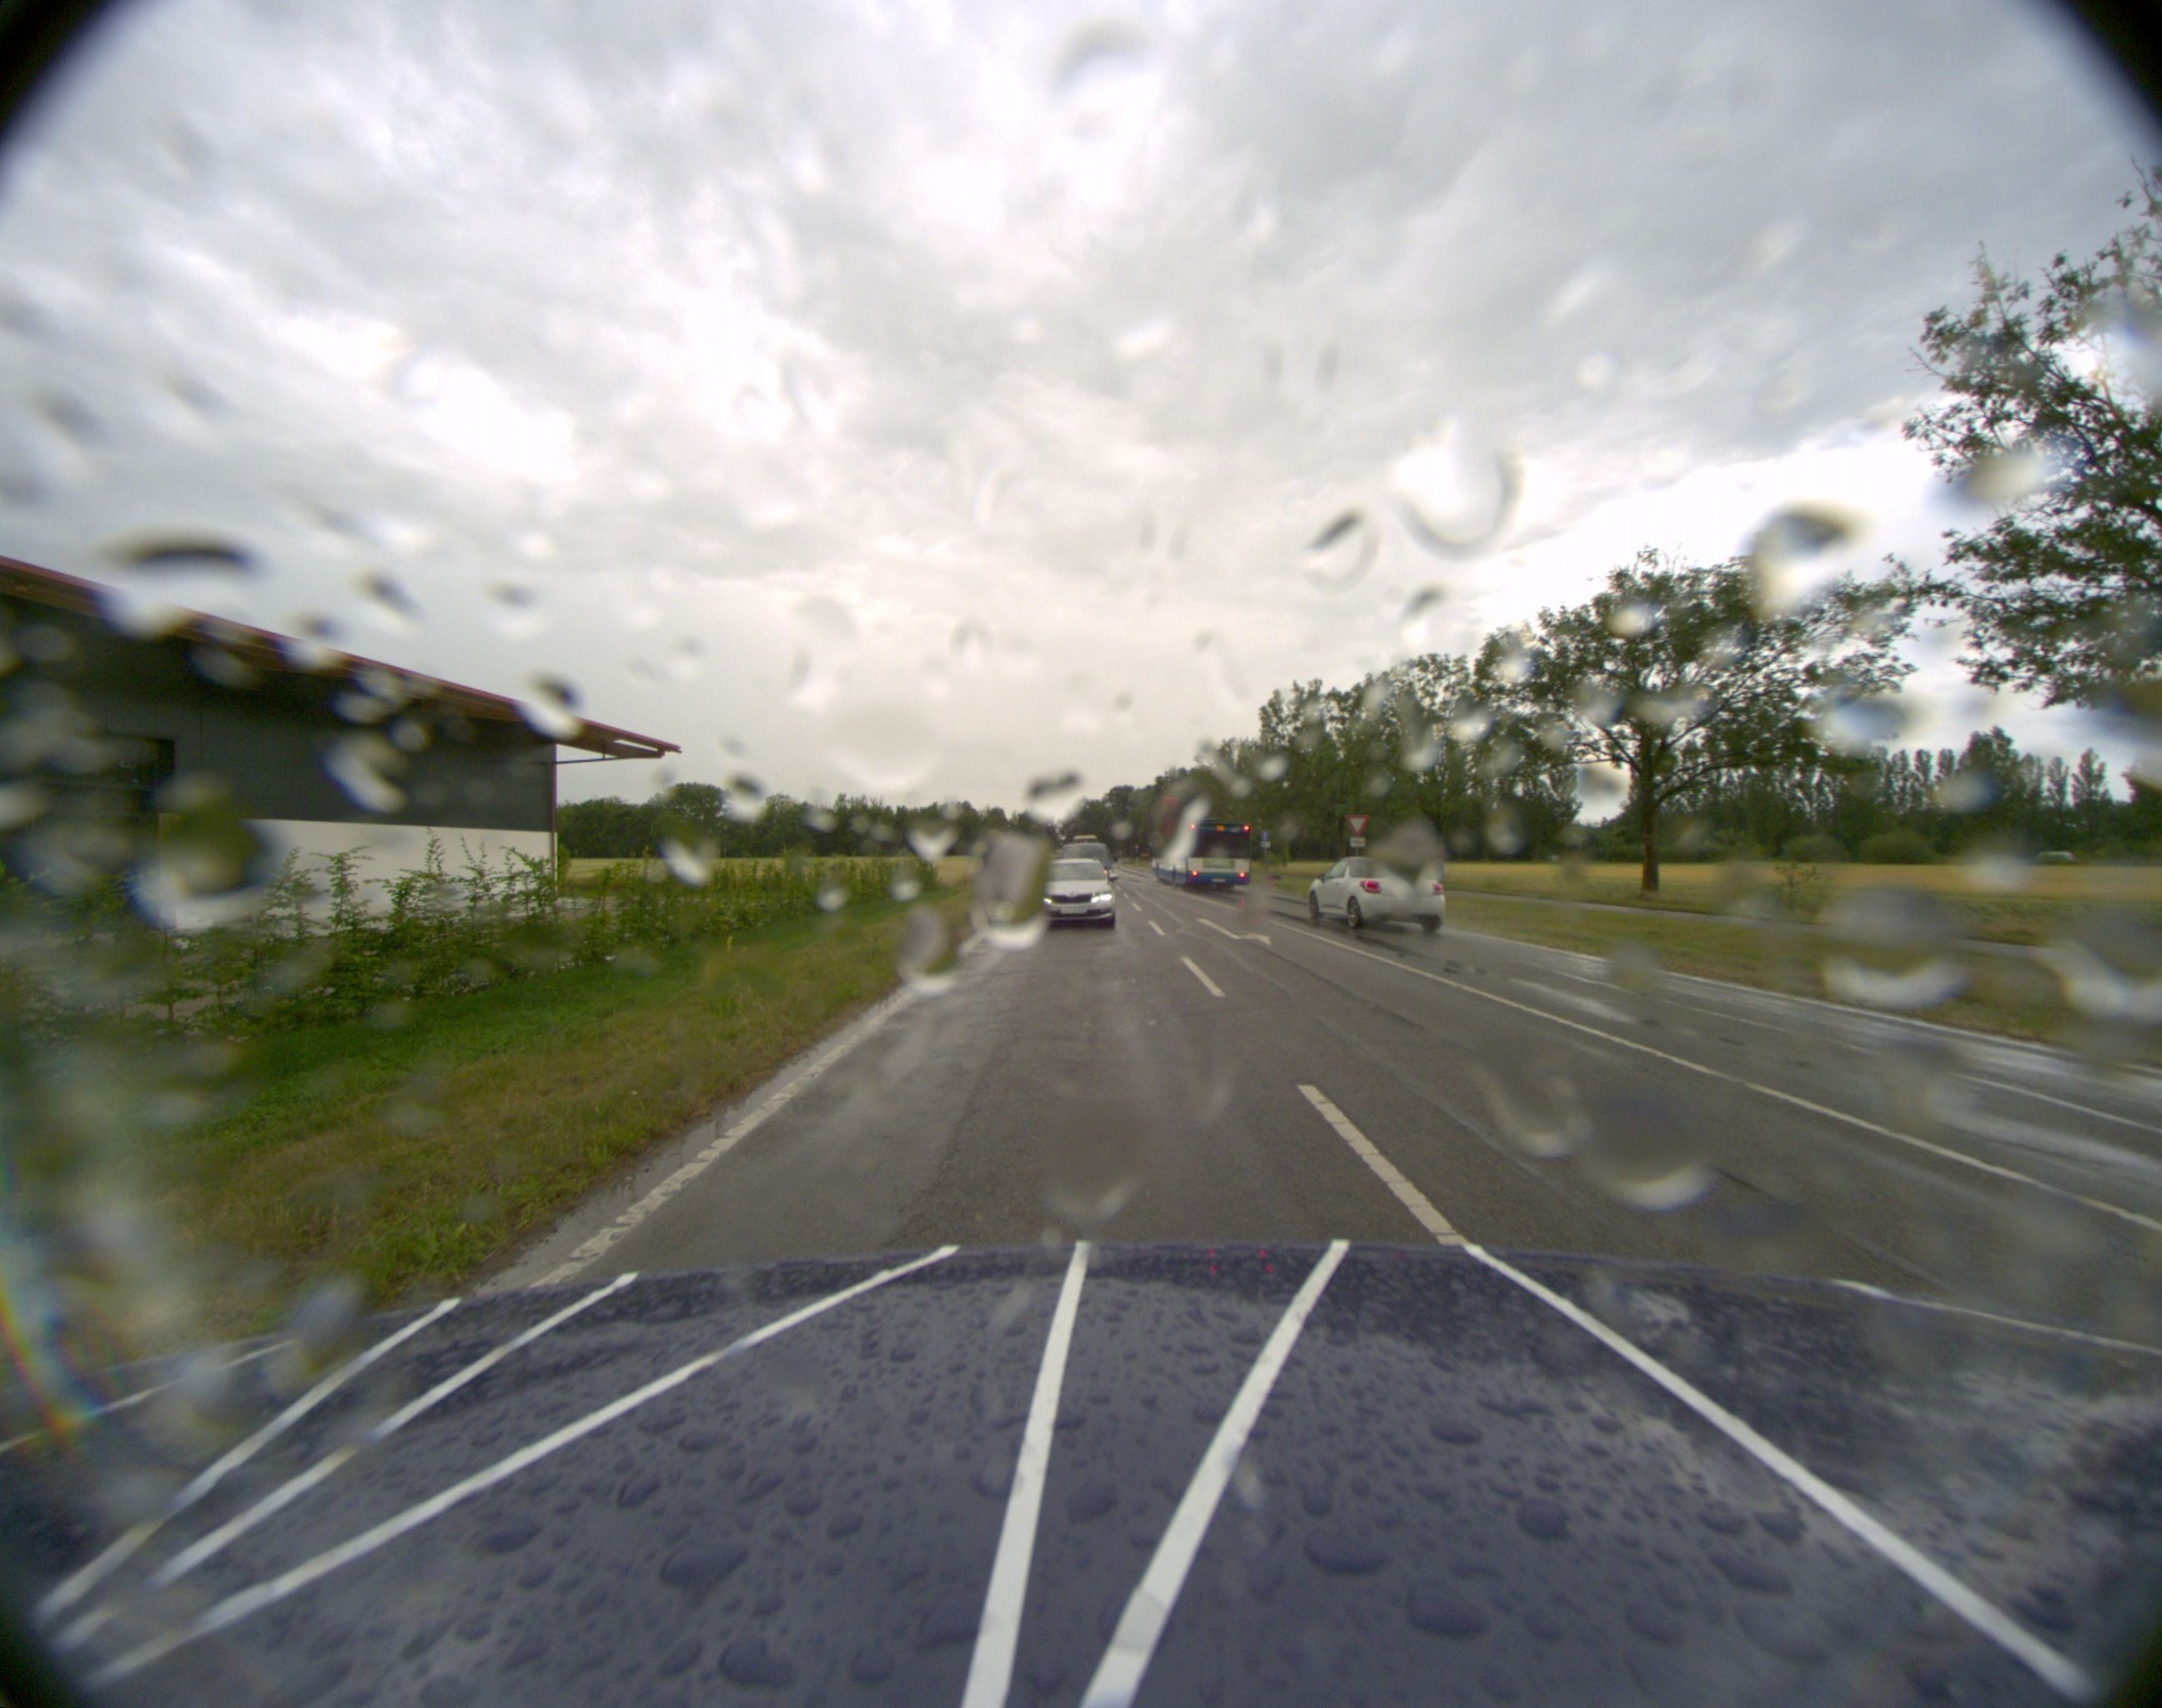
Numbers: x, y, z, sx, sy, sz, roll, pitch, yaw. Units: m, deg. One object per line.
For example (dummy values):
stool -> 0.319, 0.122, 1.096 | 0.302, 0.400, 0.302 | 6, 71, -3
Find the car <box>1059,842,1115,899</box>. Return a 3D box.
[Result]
car -> 0.229, 0.539, 27.957 | 1.892, 1.939, 3.999 | 0, 1, 0

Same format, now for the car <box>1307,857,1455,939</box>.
car -> 6.075, 0.814, 15.808 | 1.672, 1.442, 3.461 | 1, 0, 0

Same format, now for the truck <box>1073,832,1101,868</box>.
truck -> 0.665, -0.467, 87.466 | 2.931, 3.828, 14.119 | 0, 0, 0

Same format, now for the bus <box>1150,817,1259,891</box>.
bus -> 5.394, -0.071, 35.975 | 2.958, 2.895, 12.472 | 0, 1, -1

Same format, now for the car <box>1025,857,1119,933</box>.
car -> -0.167, 0.838, 17.561 | 1.843, 1.379, 4.568 | -2, 1, 0
